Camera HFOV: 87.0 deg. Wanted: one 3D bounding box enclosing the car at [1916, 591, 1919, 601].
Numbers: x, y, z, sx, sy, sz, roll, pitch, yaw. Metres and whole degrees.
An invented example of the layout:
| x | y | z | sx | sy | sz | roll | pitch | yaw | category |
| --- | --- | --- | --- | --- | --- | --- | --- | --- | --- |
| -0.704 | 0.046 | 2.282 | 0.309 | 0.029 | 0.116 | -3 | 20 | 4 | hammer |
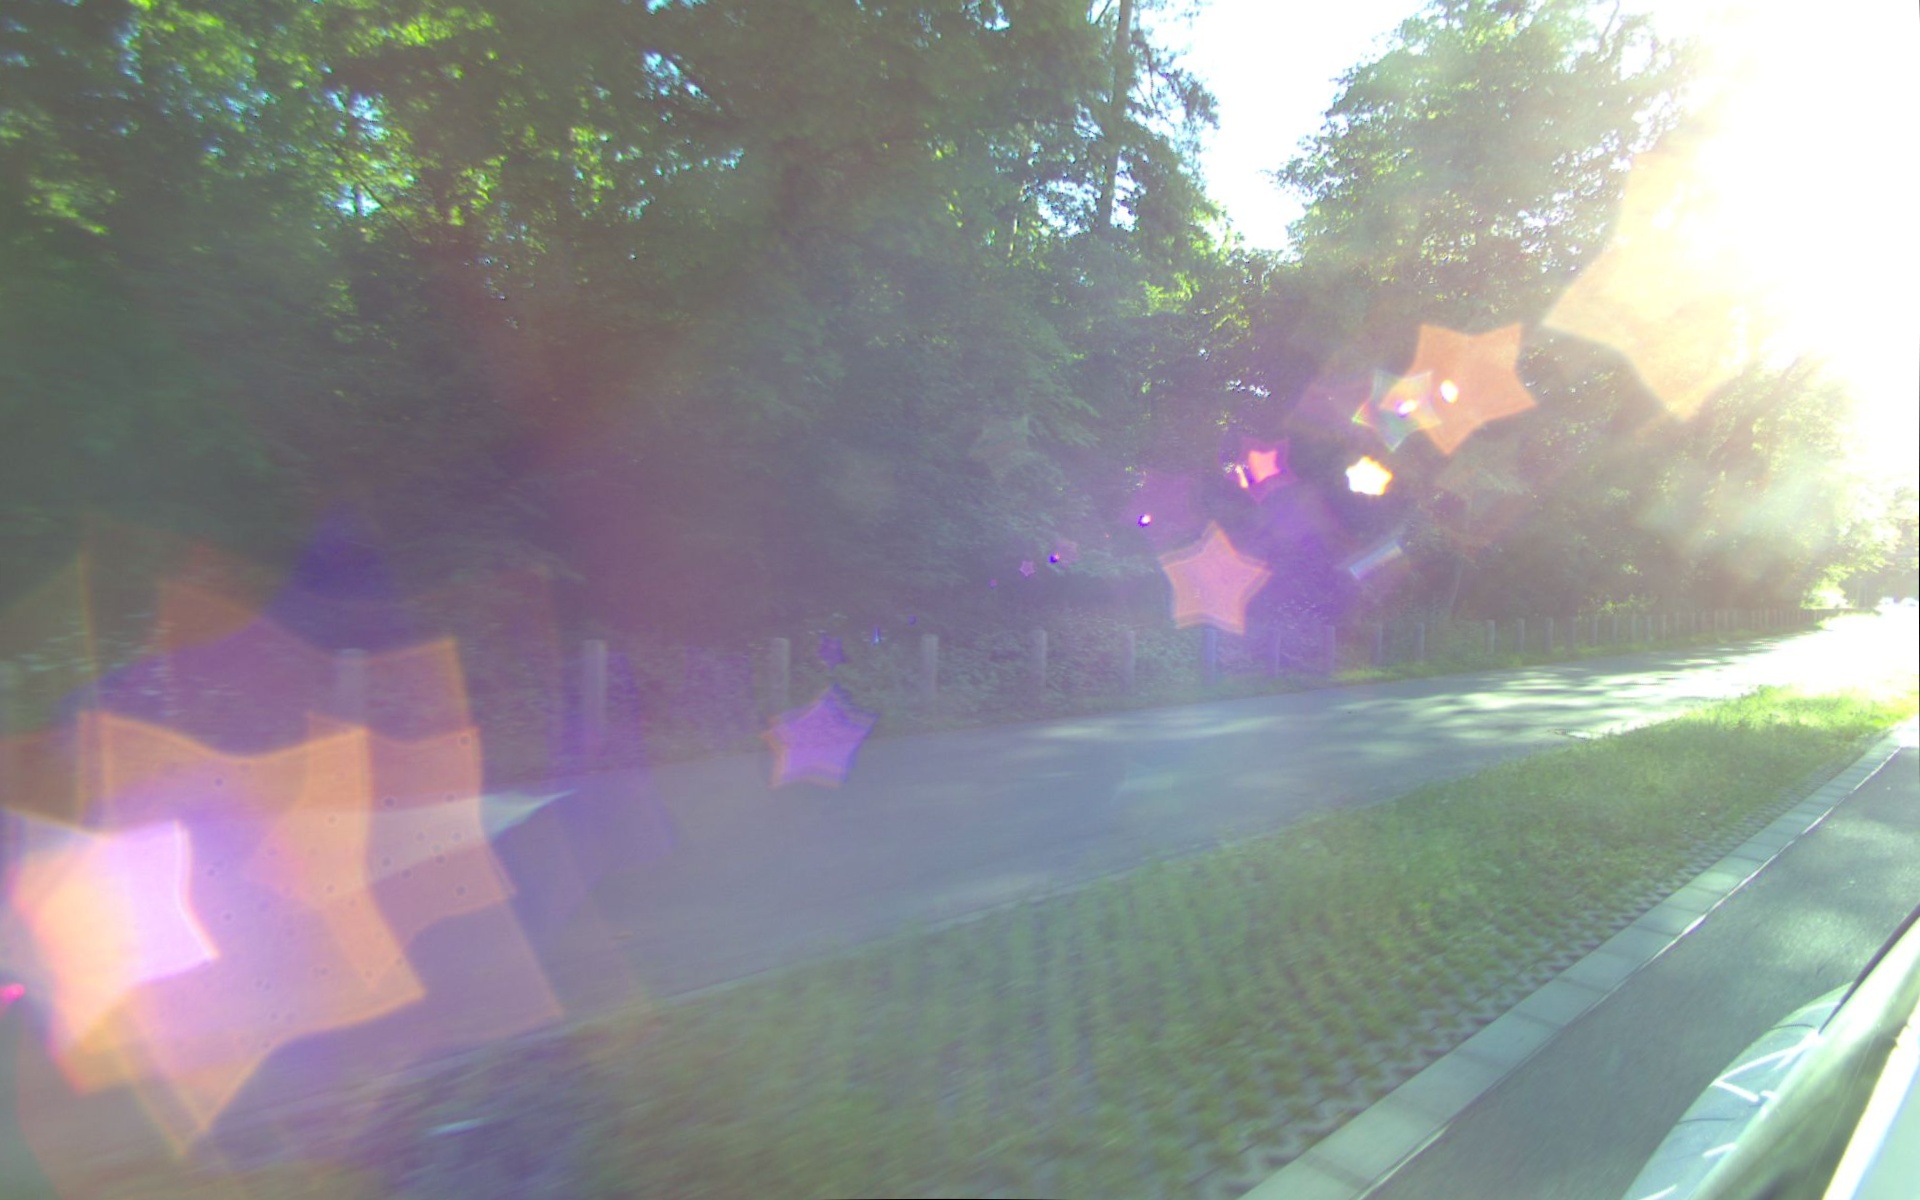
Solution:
| x | y | z | sx | sy | sz | roll | pitch | yaw | category |
| --- | --- | --- | --- | --- | --- | --- | --- | --- | --- |
| 163.936 | -0.700 | 171.718 | 1.816 | 1.705 | 3.949 | 2 | 2 | 35 | car |
